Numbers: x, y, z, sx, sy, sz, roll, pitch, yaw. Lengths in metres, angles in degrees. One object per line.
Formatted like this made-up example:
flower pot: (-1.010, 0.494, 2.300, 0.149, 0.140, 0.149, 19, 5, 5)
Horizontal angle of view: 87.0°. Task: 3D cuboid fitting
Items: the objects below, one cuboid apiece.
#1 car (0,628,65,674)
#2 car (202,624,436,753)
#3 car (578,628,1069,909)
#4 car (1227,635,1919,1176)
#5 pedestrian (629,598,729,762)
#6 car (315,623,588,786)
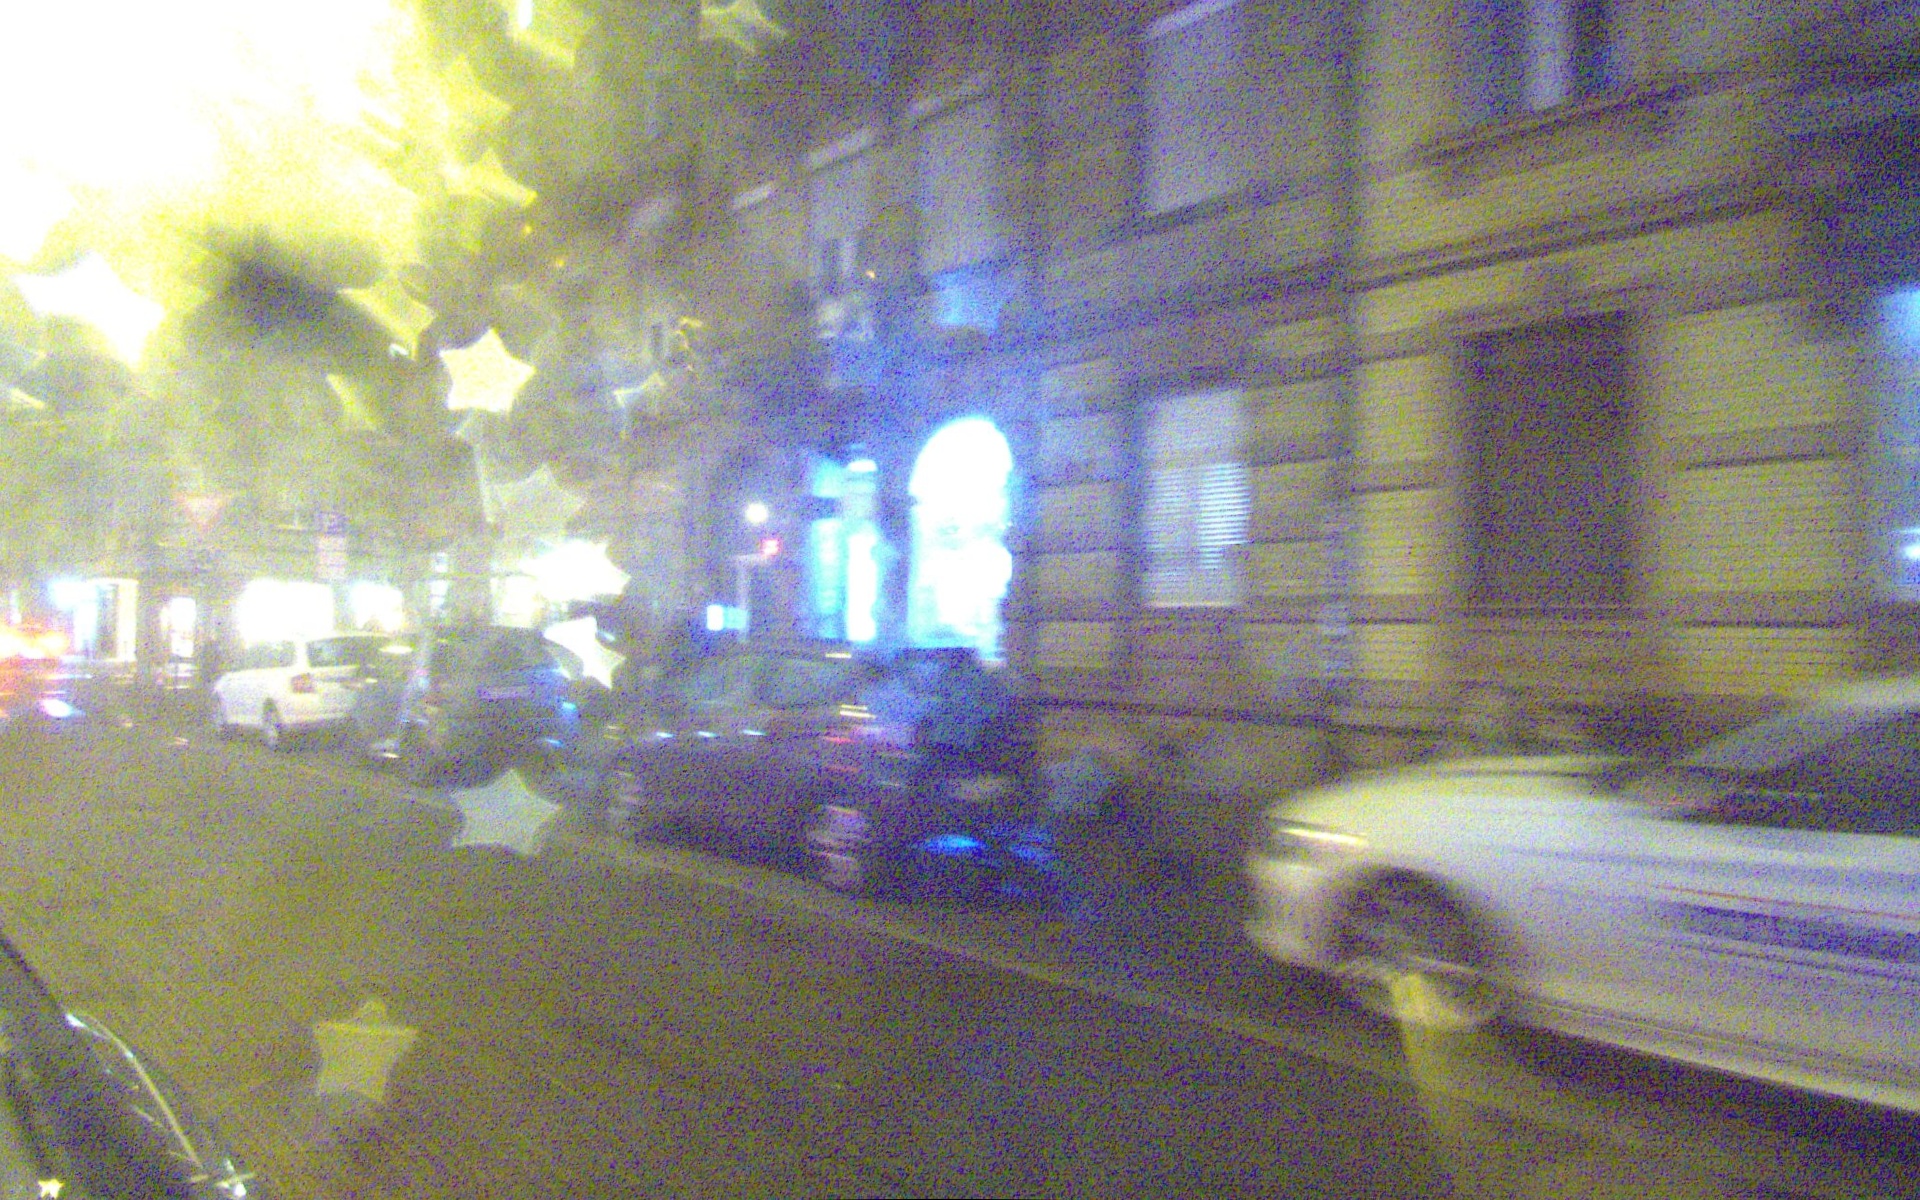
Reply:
car: (-30.955, 1.662, 32.634, 4.055, 1.405, 1.860, -2, -3, 29)
car: (-8.754, 1.124, 13.694, 3.961, 1.490, 1.674, -3, -4, 42)
car: (-1.068, 0.934, 6.979, 3.382, 1.465, 1.512, -2, -3, 41)
car: (3.245, 0.853, 3.346, 4.270, 1.465, 1.709, -2, -3, 41)
pedestrian: (-3.248, 0.887, 11.712, 0.629, 1.801, 0.900, -1, 0, 41)
car: (-5.659, 1.051, 11.117, 3.385, 1.490, 1.673, -3, -4, 45)
